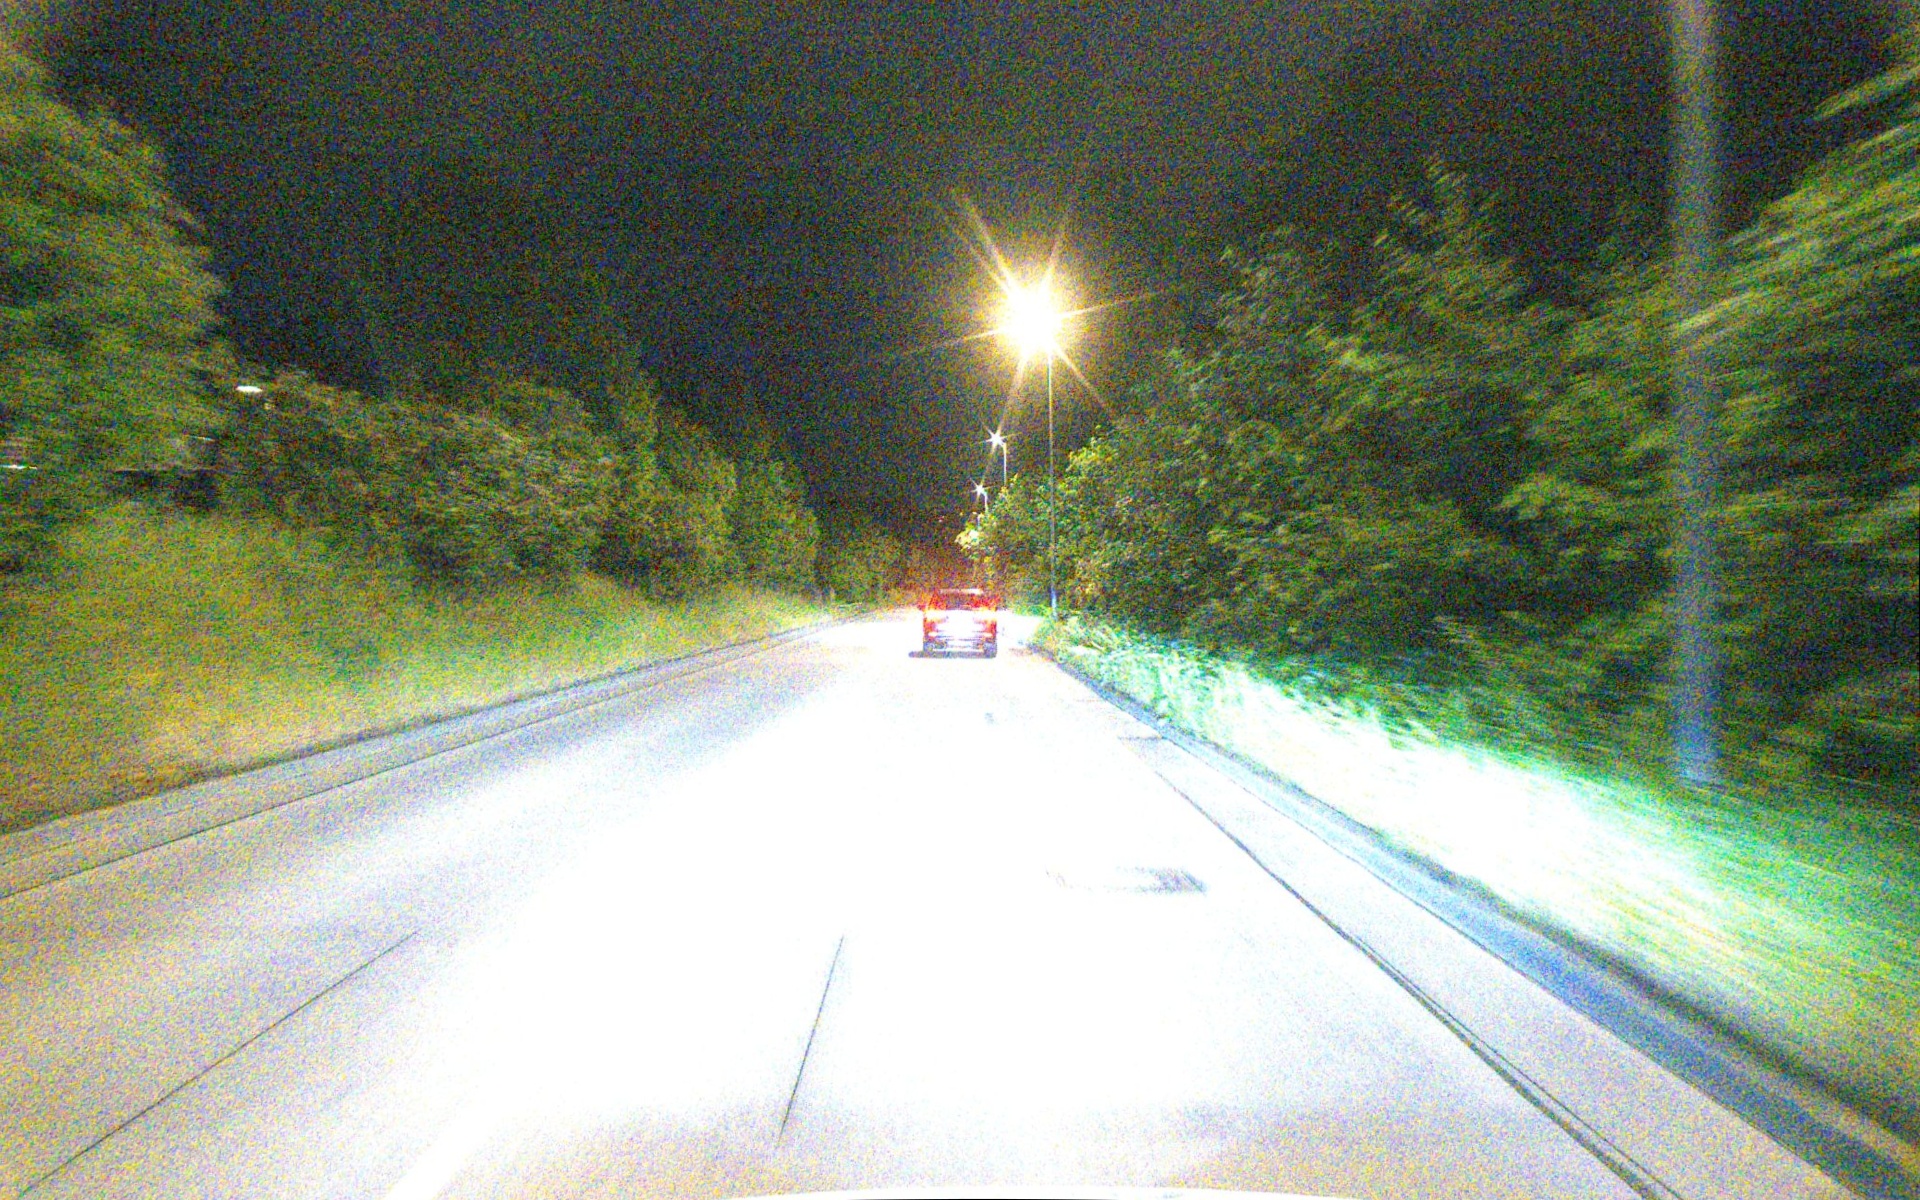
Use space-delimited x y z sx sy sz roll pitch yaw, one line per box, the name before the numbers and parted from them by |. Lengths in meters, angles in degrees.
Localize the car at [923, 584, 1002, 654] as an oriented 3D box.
car | 0.016 0.425 40.436 1.778 1.601 3.942 1 0 -2
